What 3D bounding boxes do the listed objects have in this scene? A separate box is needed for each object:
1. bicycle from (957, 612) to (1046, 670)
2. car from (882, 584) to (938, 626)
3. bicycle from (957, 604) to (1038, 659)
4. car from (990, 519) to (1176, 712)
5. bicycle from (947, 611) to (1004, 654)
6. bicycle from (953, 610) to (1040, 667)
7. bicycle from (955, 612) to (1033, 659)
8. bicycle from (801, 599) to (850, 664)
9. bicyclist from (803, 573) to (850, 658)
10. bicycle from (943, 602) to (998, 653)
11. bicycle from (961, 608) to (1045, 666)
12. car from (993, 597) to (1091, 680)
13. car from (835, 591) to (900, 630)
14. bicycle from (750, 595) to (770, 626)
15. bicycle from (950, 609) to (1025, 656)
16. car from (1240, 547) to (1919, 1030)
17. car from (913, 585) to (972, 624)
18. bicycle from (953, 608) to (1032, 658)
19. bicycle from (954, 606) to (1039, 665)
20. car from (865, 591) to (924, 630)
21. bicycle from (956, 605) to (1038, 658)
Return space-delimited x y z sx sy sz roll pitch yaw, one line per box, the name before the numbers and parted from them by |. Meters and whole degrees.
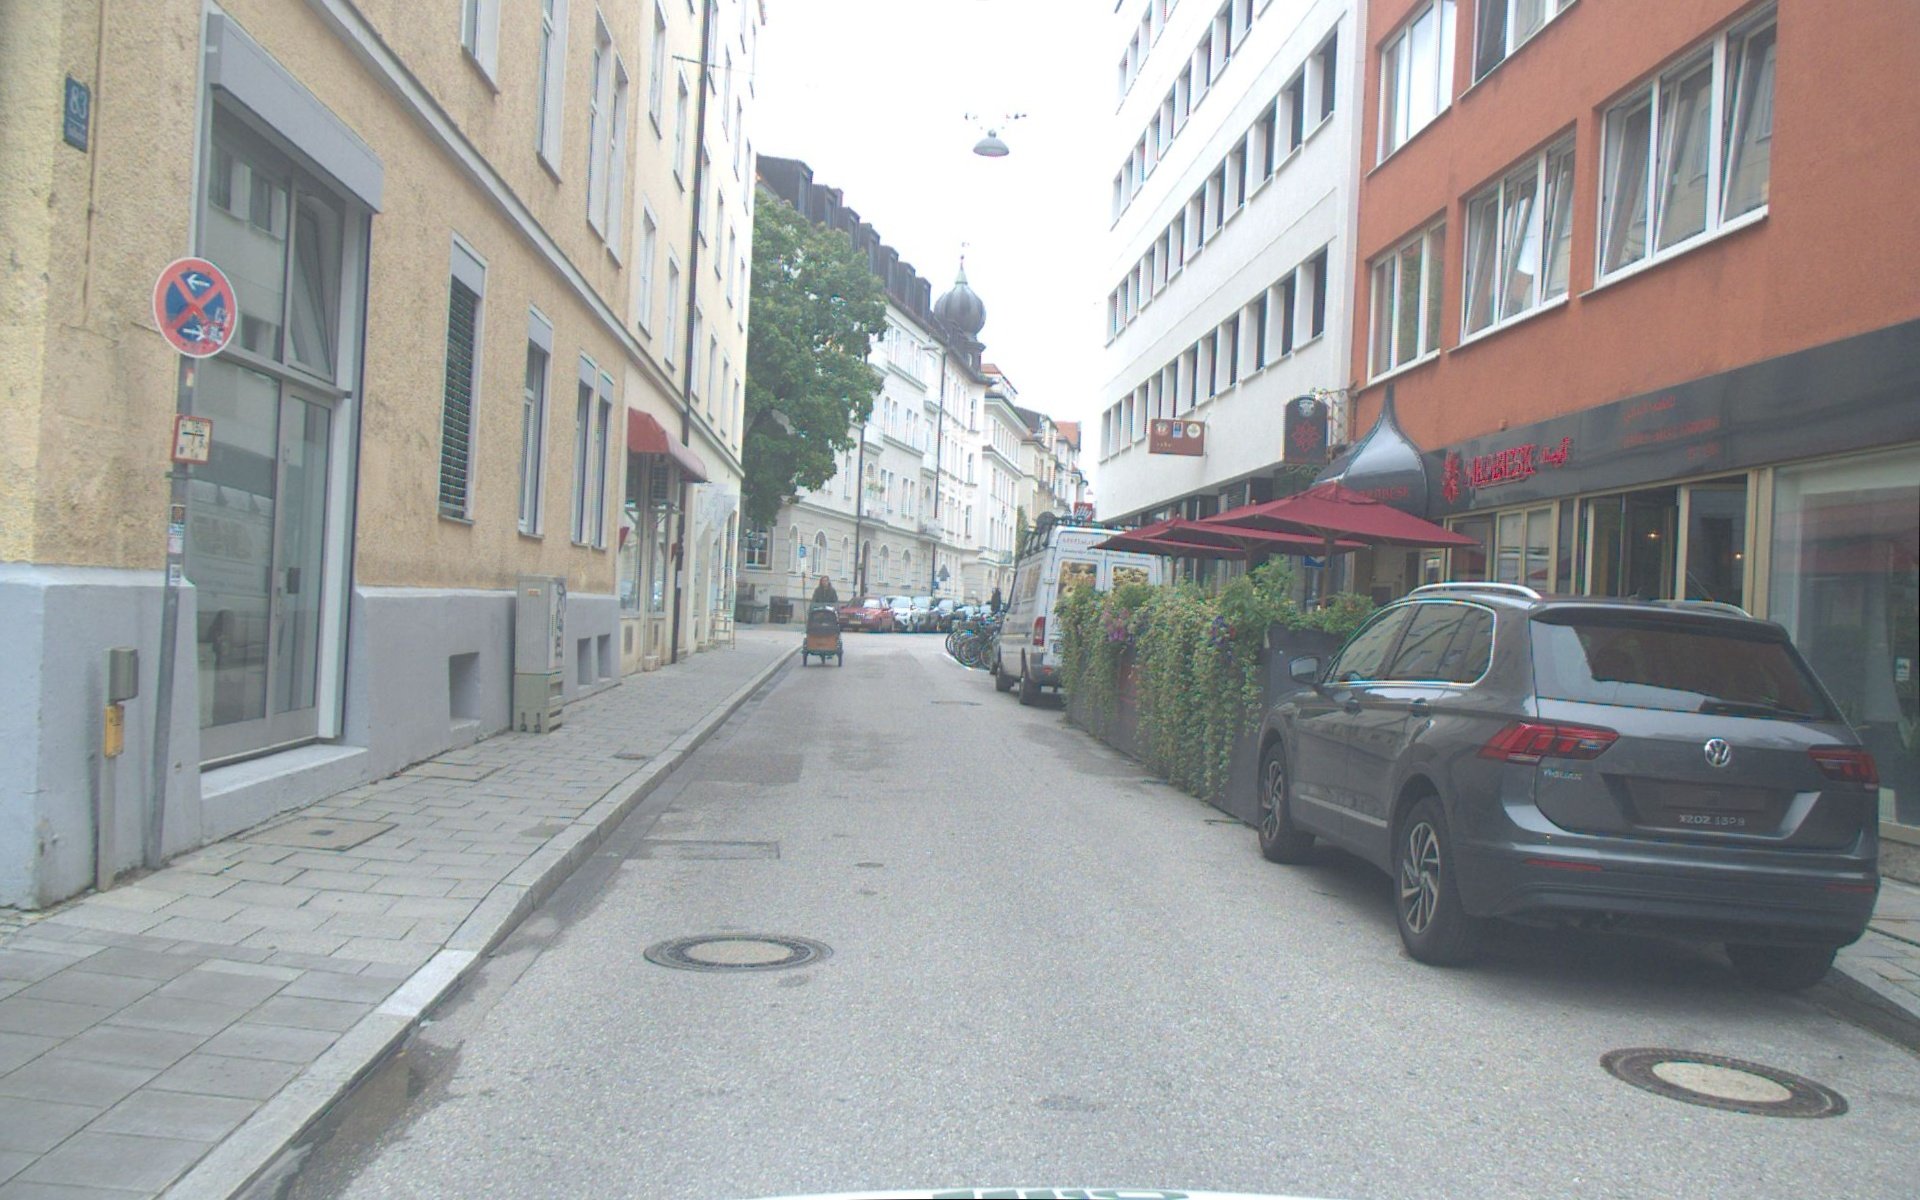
bicycle | 0.902 0.902 36.355 1.838 1.098 0.488 5 1 -6
car | -2.229 0.235 75.198 1.902 1.732 4.003 3 0 6
bicycle | 0.890 0.747 39.134 1.837 1.225 0.579 2 0 -6
car | 1.770 0.198 25.956 1.883 2.549 5.992 4 0 -4
bicycle | 0.405 0.872 44.595 1.425 1.088 0.462 3 0 -11
bicycle | 0.822 0.859 37.192 1.838 1.127 0.488 4 1 -6
bicycle | 0.839 0.884 41.007 1.838 1.070 0.563 3 -2 -7
bicycle | -2.795 0.651 34.625 0.913 1.279 2.412 2 -1 -3
bicyclist | -2.811 0.321 35.010 0.908 1.751 1.099 1 0 -3
bicycle | 0.296 0.750 45.603 1.428 1.307 0.445 3 0 -3
bicycle | 0.996 0.853 38.408 1.838 1.177 0.564 4 1 -6
car | 1.575 0.724 32.905 1.549 1.489 3.550 3 0 -3
car | -3.626 0.422 65.299 1.694 1.402 4.230 3 0 8
bicycle | -7.737 0.397 64.016 0.483 1.070 1.828 3 2 2
bicycle | 0.699 0.833 42.137 1.838 1.098 0.408 3 1 -7
car | 2.831 0.724 8.494 1.788 1.740 4.387 4 0 -2
car | -0.827 0.239 80.725 1.951 1.768 4.525 3 0 11
bicycle | 0.790 0.809 40.300 1.838 1.114 0.439 3 1 -7
bicycle | 0.820 0.804 37.713 1.837 1.225 0.488 3 1 -6
car | -2.757 0.453 70.577 1.952 1.499 4.221 3 0 5
bicycle | 0.884 0.752 39.735 1.857 1.190 0.565 2 0 -6
